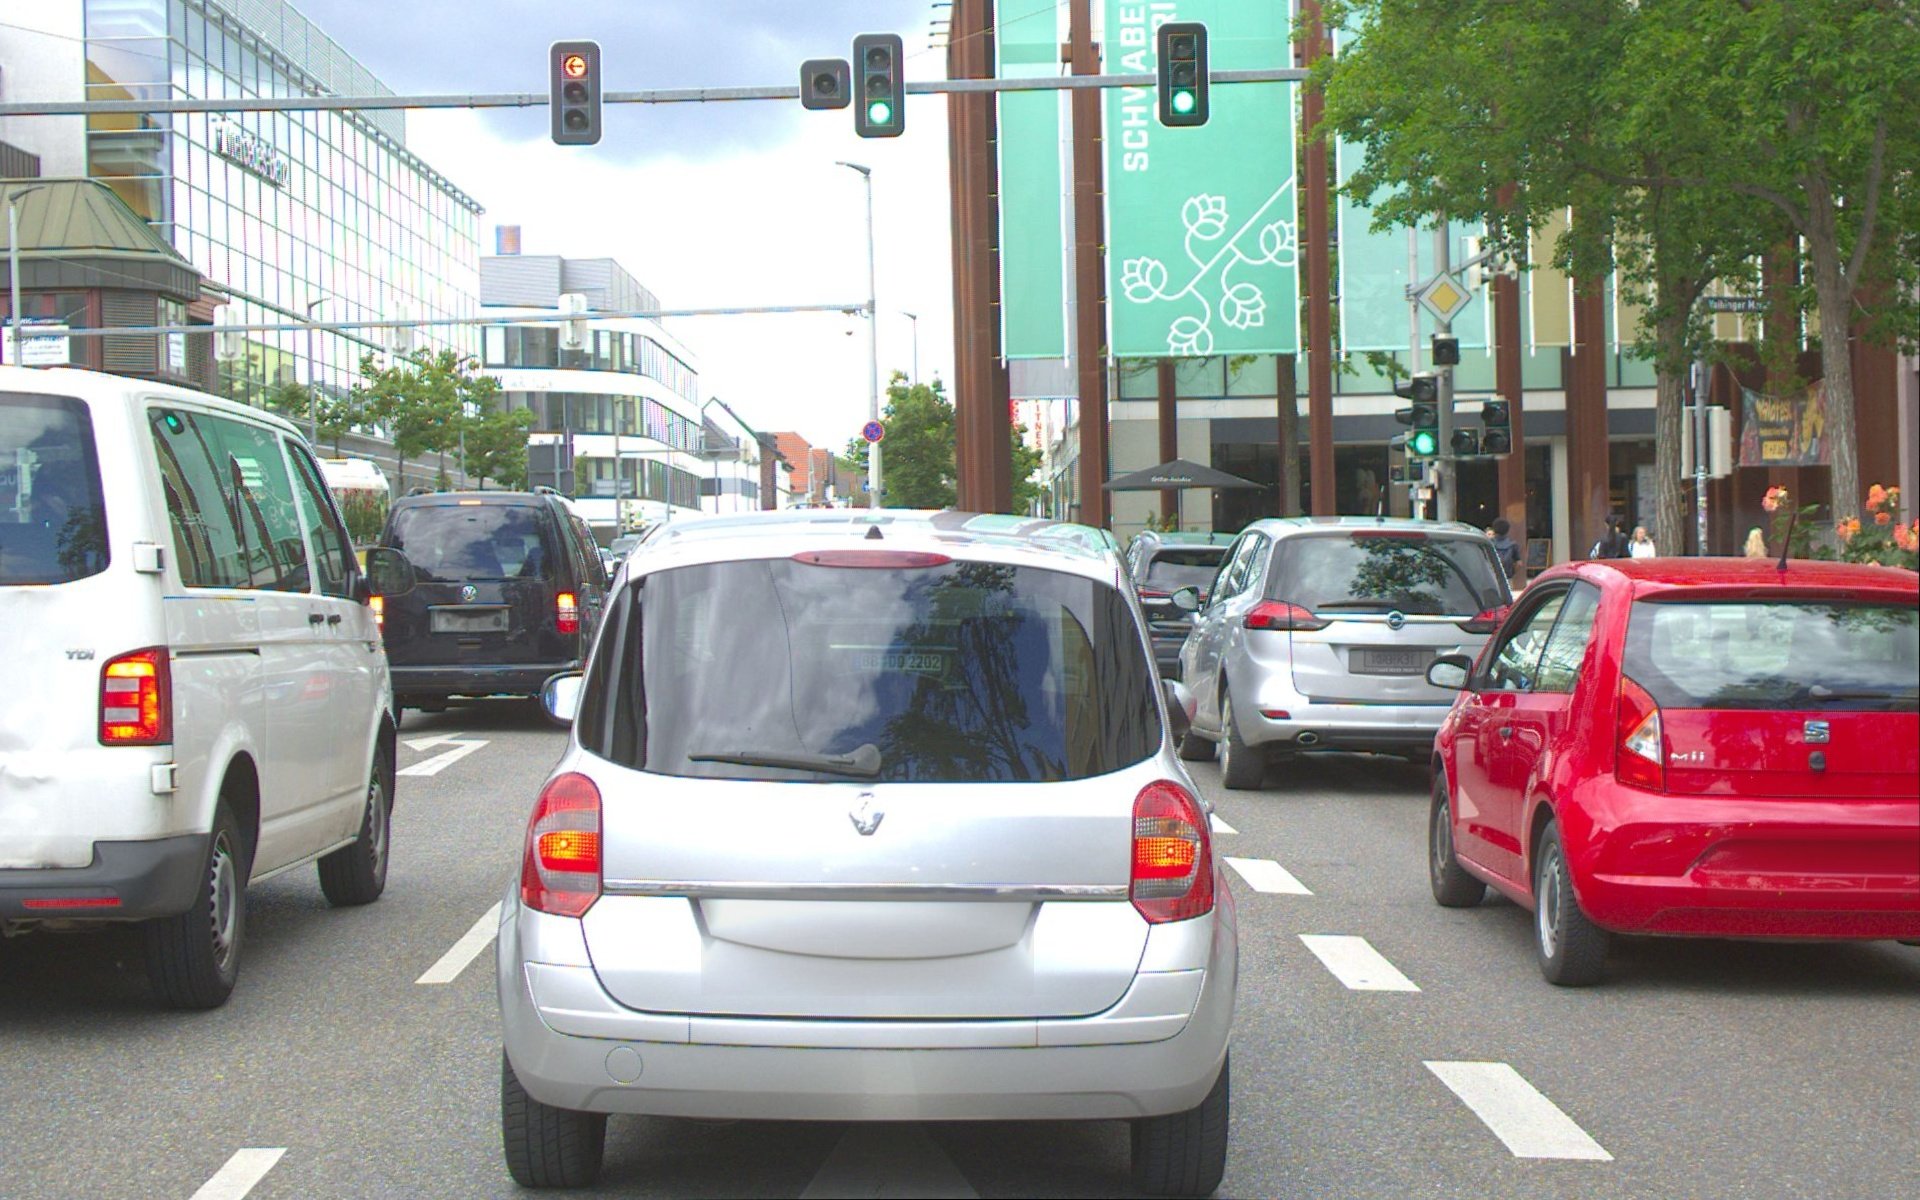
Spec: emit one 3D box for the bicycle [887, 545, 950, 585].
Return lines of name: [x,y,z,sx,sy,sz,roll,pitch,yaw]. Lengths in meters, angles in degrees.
bicycle: [-1.054,-0.887,88.064,1.561,0.989,0.752,-1,1,3]

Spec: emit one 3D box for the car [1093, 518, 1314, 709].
car: [2.286,0.078,33.270,1.739,1.695,4.381,1,1,-1]

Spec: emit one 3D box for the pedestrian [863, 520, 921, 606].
pedestrian: [-1.312,-0.715,66.254,0.871,1.641,0.679,0,2,34]

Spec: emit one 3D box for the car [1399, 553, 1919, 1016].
car: [2.719,0.571,12.843,1.626,1.443,3.642,1,1,-1]

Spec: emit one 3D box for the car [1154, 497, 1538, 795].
car: [2.358,0.226,22.065,1.739,1.695,4.381,1,1,-3]

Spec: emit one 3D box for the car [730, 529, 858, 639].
car: [-2.350,-0.263,49.325,1.669,1.490,3.642,1,1,-1]

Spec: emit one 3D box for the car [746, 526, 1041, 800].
car: [-0.405,0.328,21.634,1.669,1.549,3.642,1,1,-1]

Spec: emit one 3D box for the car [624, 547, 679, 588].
car: [-11.552,-1.223,128.935,1.660,1.460,4.000,-2,1,0]

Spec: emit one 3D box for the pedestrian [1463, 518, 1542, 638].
pedestrian: [7.759,-0.323,49.209,0.878,1.675,1.120,-1,1,-3]

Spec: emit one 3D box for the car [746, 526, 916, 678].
car: [-1.312,-0.016,36.252,1.669,1.490,3.642,1,1,-1]

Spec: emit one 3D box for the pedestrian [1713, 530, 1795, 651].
pedestrian: [11.796,-0.149,51.122,0.878,1.761,1.120,-1,1,-3]

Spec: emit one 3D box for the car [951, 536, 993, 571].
car: [0.545,-2.161,159.597,1.877,1.559,4.000,1,1,0]

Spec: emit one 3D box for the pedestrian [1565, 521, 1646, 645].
pedestrian: [9.339,-0.253,49.776,0.878,1.761,1.120,-1,1,-3]

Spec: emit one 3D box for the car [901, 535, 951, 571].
car: [-1.294,-1.808,132.217,1.877,1.330,4.000,1,1,0]

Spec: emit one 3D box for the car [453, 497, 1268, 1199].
car: [-0.229,0.540,8.969,1.669,1.549,3.642,1,1,-1]

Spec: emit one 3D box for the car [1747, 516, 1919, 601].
car: [15.454,-0.700,57.426,4.172,1.399,1.801,0,1,-3]

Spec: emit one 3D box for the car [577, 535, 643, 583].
car: [-11.526,-1.368,113.411,1.744,1.454,4.235,-2,1,-1]

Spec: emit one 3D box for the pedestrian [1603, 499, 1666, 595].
pedestrian: [11.371,-0.894,58.005,0.821,1.589,1.039,-1,1,-2]

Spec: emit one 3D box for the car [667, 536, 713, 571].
car: [-11.776,-2.042,149.965,1.660,1.460,4.000,-2,1,0]

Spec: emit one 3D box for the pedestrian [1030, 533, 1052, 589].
pedestrian: [1.754,-0.845,74.453,0.447,1.216,0.606,-1,1,2]

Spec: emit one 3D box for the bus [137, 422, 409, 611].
bus: [-13.632,-1.674,69.456,2.987,3.316,12.307,-3,1,-1]

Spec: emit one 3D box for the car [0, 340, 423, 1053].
car: [-3.248,0.217,12.109,1.993,2.007,4.840,1,1,-1]

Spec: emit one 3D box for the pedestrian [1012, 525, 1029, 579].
pedestrian: [1.760,-1.397,99.853,0.427,1.544,0.481,-1,1,-2]

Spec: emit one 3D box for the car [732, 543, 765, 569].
car: [-12.429,-2.617,202.154,1.660,1.460,4.000,-2,1,0]

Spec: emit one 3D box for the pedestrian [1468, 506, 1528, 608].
pedestrian: [8.707,-0.705,55.646,0.741,1.620,0.954,-1,1,-4]

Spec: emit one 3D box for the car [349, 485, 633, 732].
car: [-3.722,0.022,27.957,1.707,1.814,4.572,1,1,-1]

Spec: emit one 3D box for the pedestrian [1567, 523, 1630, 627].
pedestrian: [10.190,-0.405,54.854,0.741,1.620,0.954,-1,1,-4]
